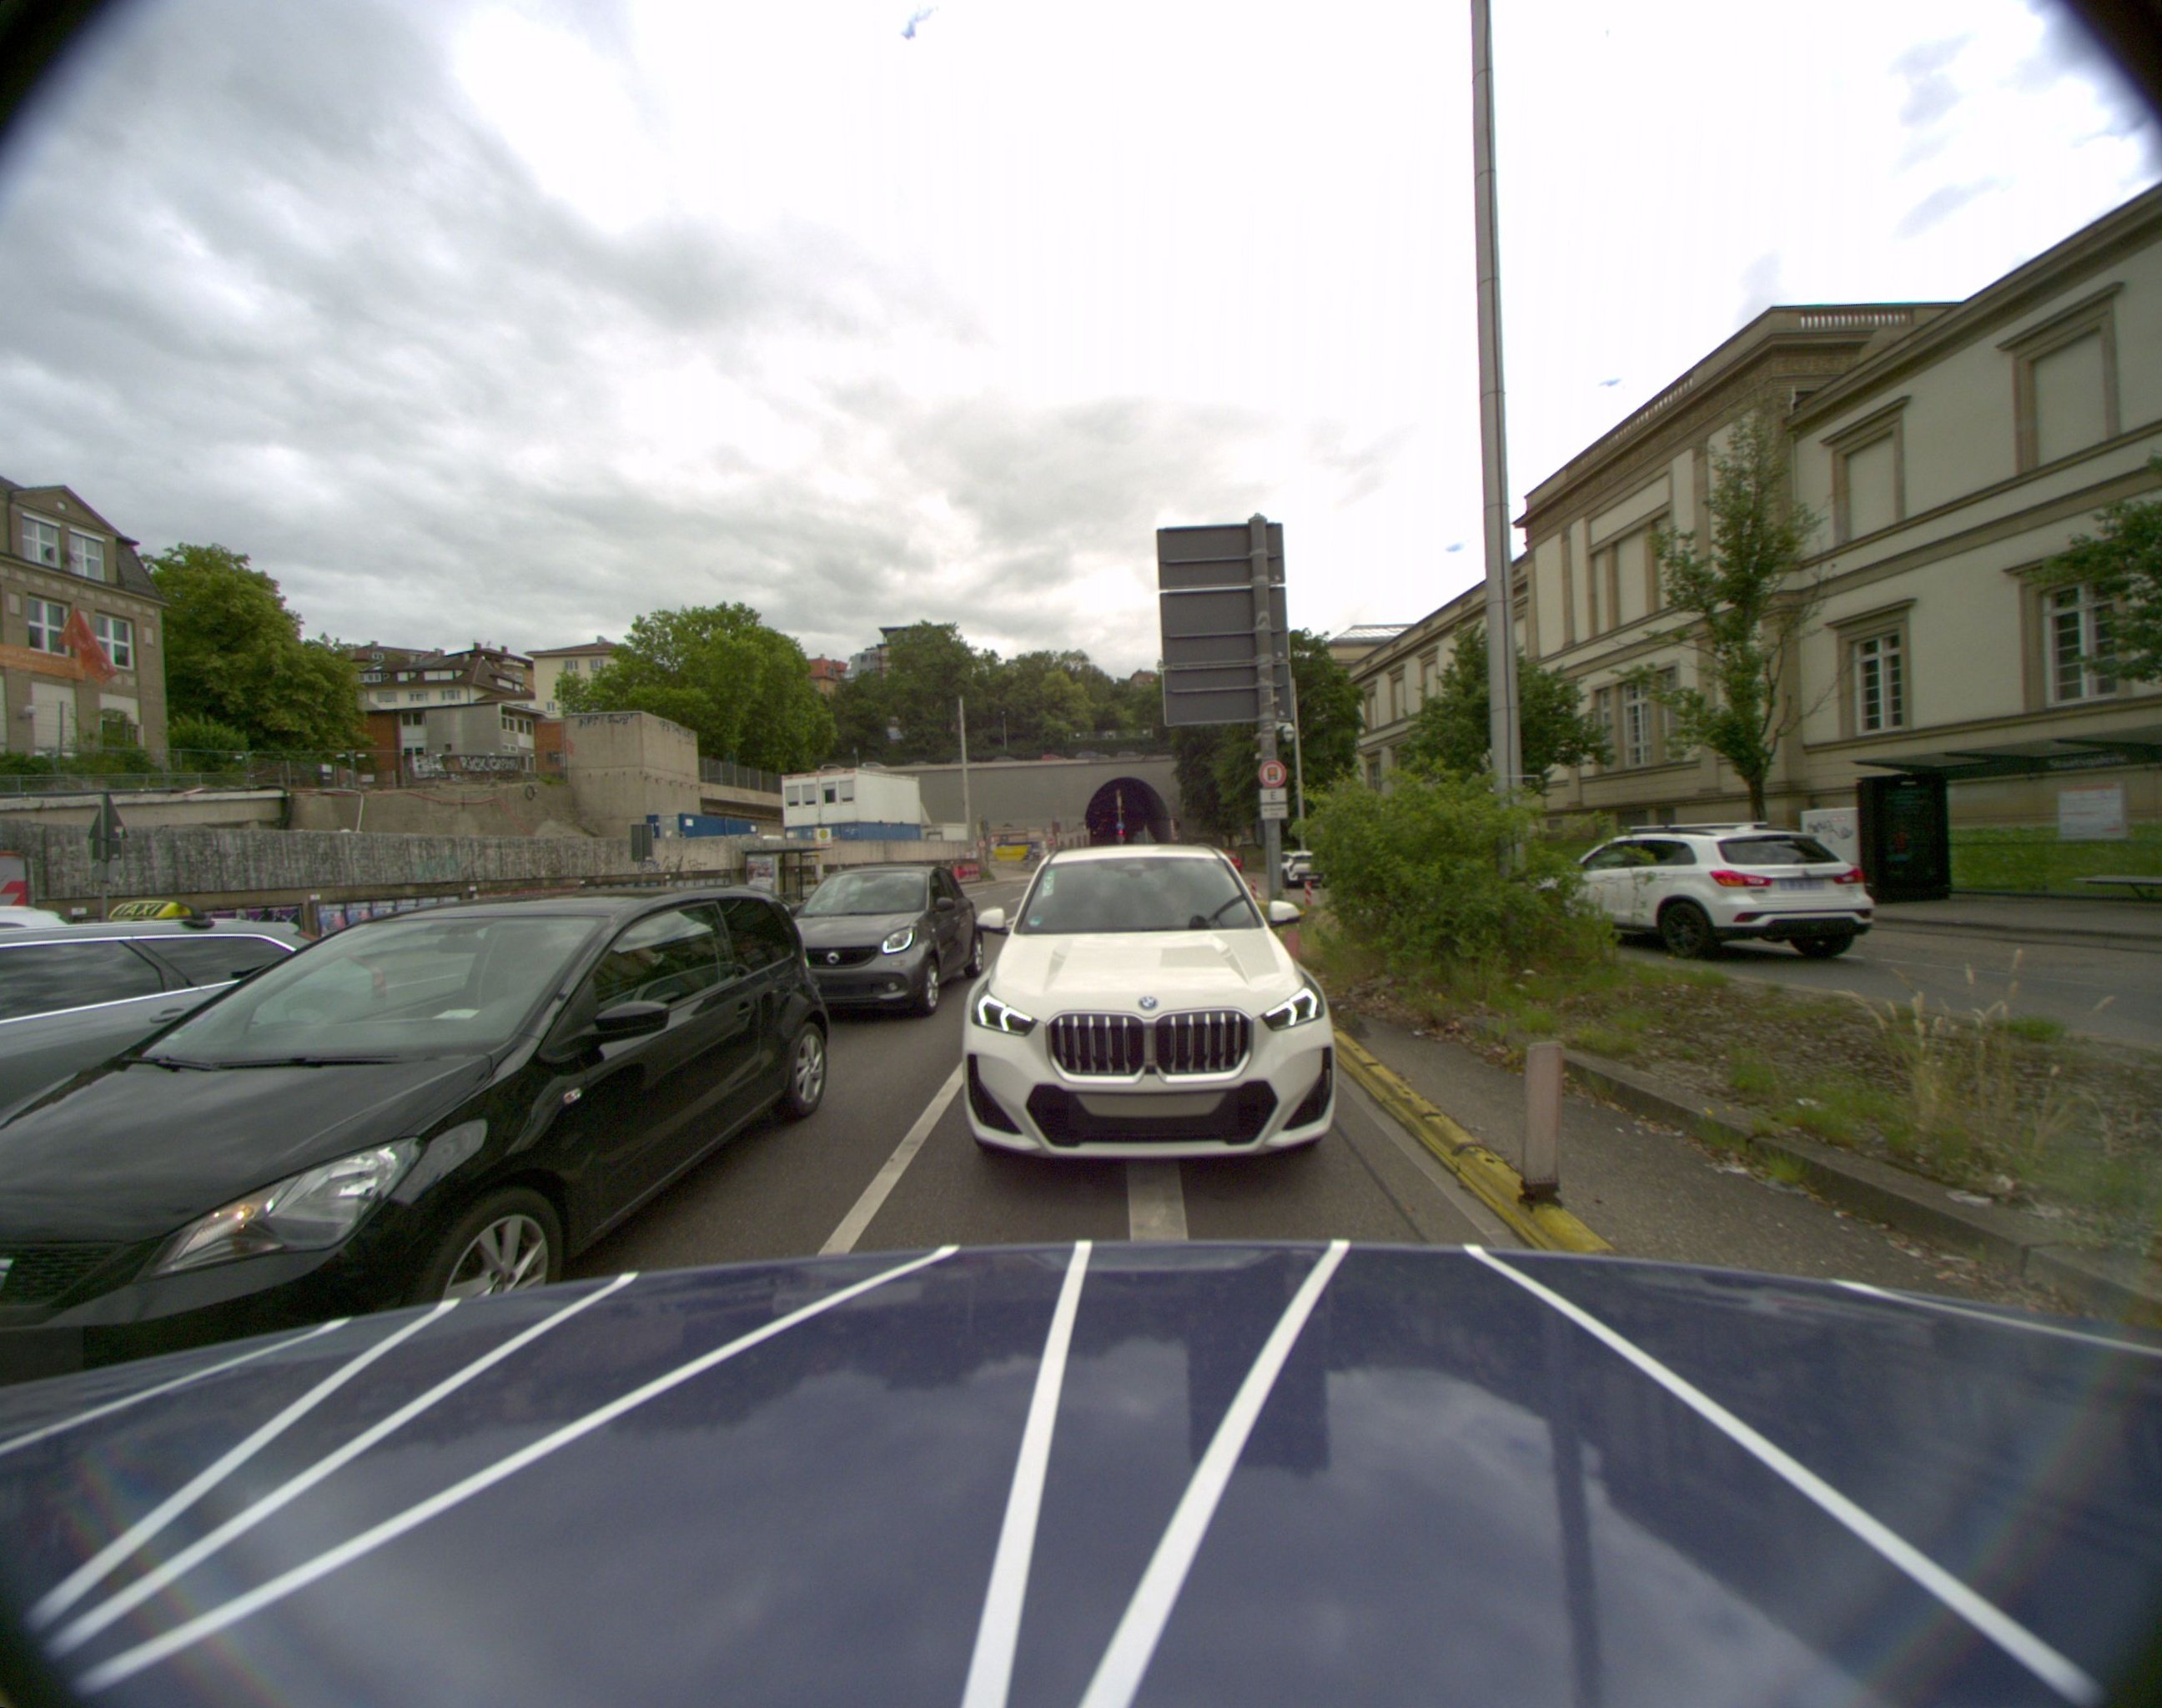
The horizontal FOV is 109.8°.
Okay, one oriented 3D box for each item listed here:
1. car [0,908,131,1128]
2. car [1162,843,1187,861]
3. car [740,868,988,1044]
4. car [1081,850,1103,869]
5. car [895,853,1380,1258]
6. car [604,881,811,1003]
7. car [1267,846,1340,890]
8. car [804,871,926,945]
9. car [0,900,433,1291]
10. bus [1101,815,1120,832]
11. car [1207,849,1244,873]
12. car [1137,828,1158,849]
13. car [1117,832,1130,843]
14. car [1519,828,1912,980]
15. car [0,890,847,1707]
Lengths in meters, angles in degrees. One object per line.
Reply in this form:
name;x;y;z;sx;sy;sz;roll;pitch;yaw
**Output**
car;-9.104;1.327;4.447;1.680;1.615;4.209;-2;1;1
car;8.763;-0.201;71.126;1.778;1.609;3.802;-2;1;-1
car;-2.251;0.988;8.894;1.720;1.535;3.575;-2;0;2
car;0.980;0.448;65.123;1.680;1.450;3.807;-2;1;3
car;0.265;0.854;5.045;1.987;1.615;3.670;-2;1;1
car;-5.393;1.203;11.351;1.665;1.423;2.714;-2;1;1
car;9.578;0.551;33.097;1.875;1.681;4.267;-2;1;0
car;-4.916;1.175;17.815;1.680;1.358;3.806;-2;1;1
car;-5.854;1.215;3.306;1.829;1.615;4.808;-2;1;1
bus;5.914;-6.182;154.360;3.171;3.129;9.118;-2;1;-1
car;9.531;0.422;50.402;1.646;1.469;3.574;-2;0;-2
car;8.062;-1.867;92.191;2.203;2.493;4.758;-2;1;2
car;6.837;-2.644;121.457;1.946;1.714;4.000;-2;1;4
car;8.229;0.567;10.481;1.904;1.615;4.107;-2;0;-1
car;-2.569;1.025;3.345;1.829;1.450;3.700;-2;1;1
